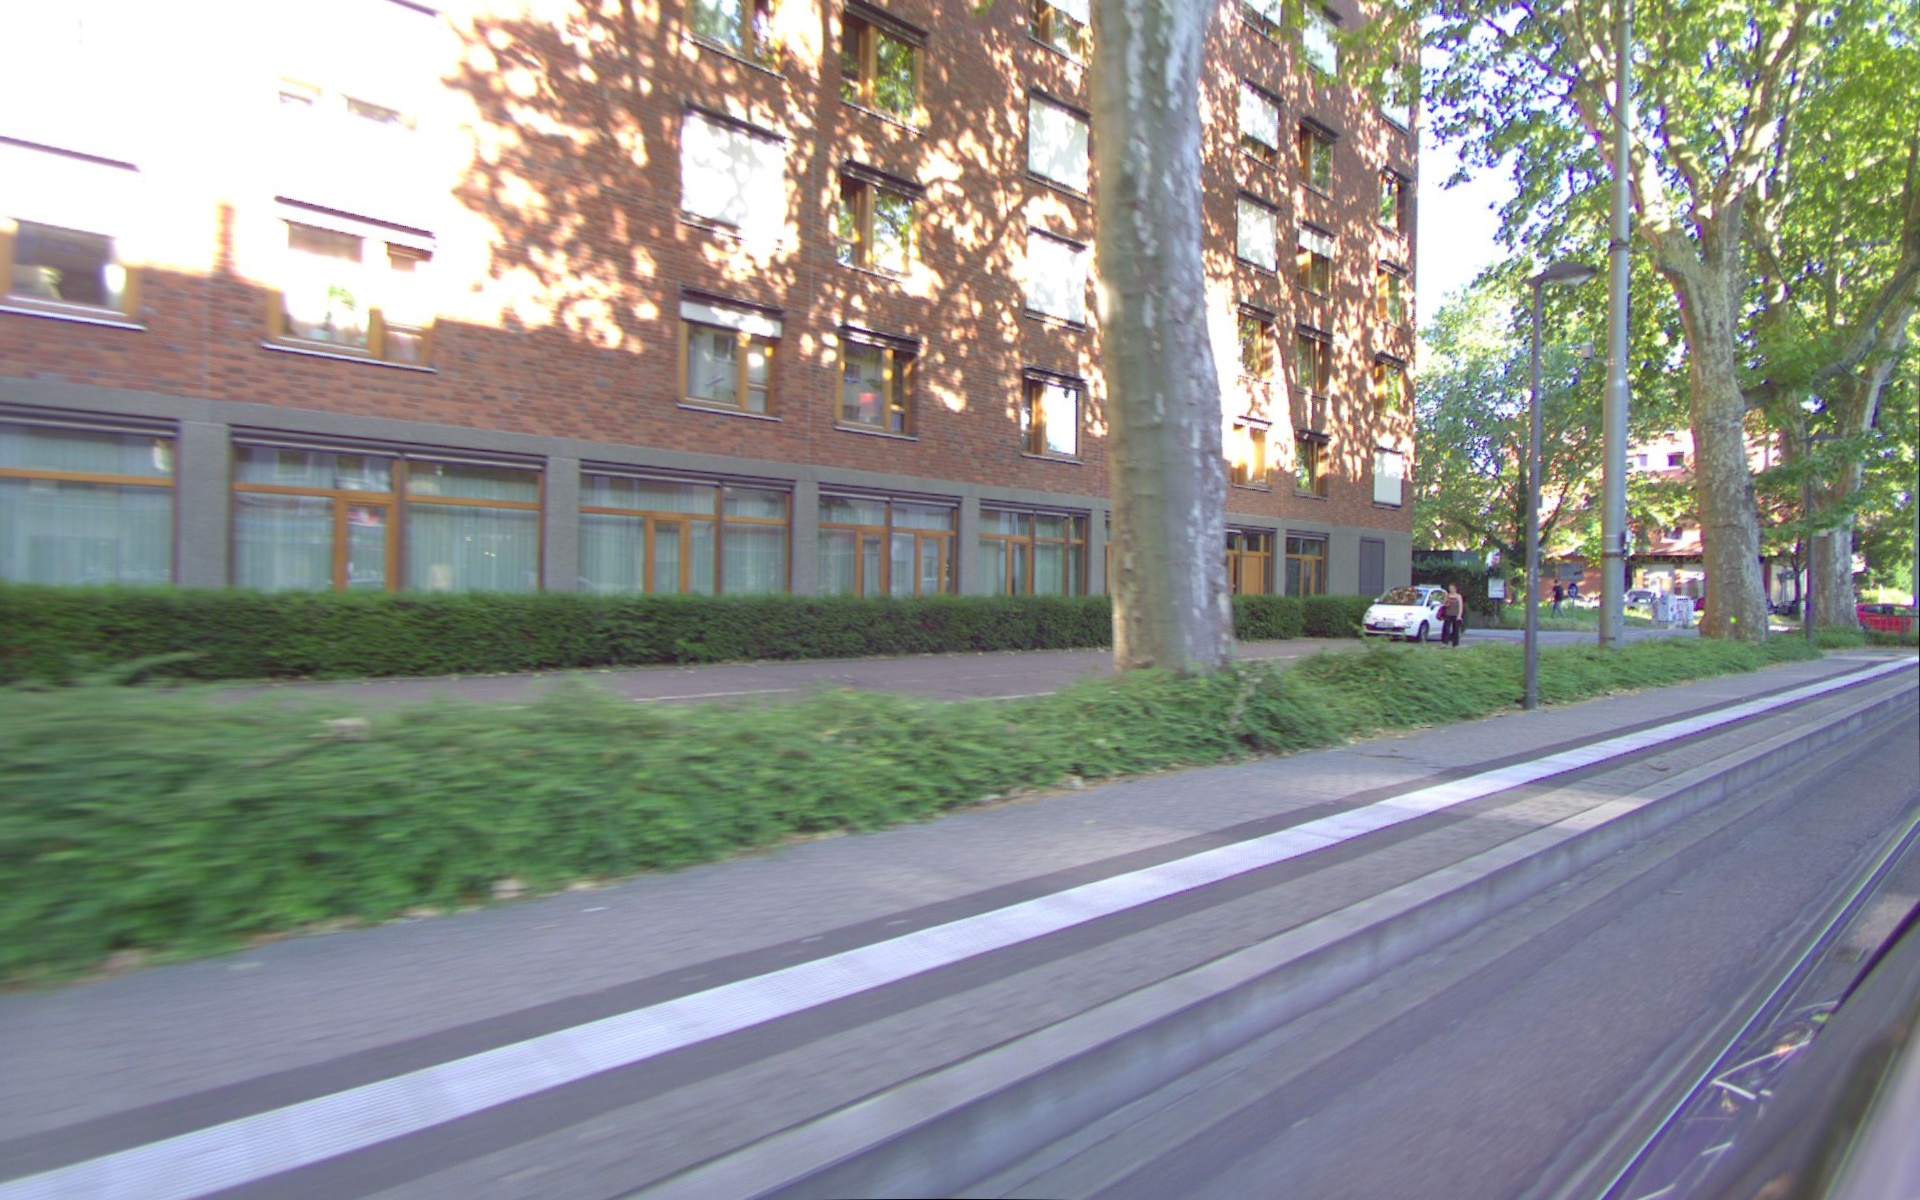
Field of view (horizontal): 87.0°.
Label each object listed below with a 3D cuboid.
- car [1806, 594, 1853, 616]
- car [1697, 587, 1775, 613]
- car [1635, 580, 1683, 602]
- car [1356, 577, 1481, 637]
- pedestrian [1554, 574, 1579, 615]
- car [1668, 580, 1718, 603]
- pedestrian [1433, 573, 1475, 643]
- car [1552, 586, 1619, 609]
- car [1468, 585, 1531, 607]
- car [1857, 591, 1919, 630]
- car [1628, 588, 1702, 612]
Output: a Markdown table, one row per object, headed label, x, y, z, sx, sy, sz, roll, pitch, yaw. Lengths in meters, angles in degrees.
| label | x | y | z | sx | sy | sz | roll | pitch | yaw |
| --- | --- | --- | --- | --- | --- | --- | --- | --- | --- |
| car | 65.425 | 0.384 | 76.160 | 3.611 | 1.549 | 1.999 | 0 | 1 | -38 |
| car | 50.125 | 0.005 | 65.425 | 1.964 | 1.549 | 3.674 | 0 | 1 | -39 |
| car | 52.144 | -0.658 | 75.477 | 3.611 | 1.549 | 1.999 | 0 | 1 | -38 |
| car | 12.737 | 0.155 | 28.026 | 3.892 | 1.527 | 1.657 | 0 | 1 | -41 |
| pedestrian | 26.391 | -0.251 | 44.028 | 0.689 | 1.735 | 0.691 | 0 | 1 | -33 |
| car | 53.137 | -0.613 | 73.387 | 3.611 | 1.549 | 1.999 | 0 | 1 | -38 |
| pedestrian | 12.265 | 0.187 | 25.130 | 0.736 | 1.712 | 0.710 | 0 | 1 | -42 |
| car | 44.548 | -0.183 | 72.118 | 1.964 | 1.549 | 3.674 | 0 | 1 | -39 |
| car | 40.626 | -0.305 | 76.275 | 1.964 | 1.549 | 3.674 | 0 | 1 | -39 |
| car | 39.468 | 0.435 | 41.390 | 1.964 | 1.549 | 3.872 | 0 | 1 | -39 |
| car | 47.638 | -0.012 | 68.437 | 1.964 | 1.549 | 3.674 | 0 | 1 | -39 |
